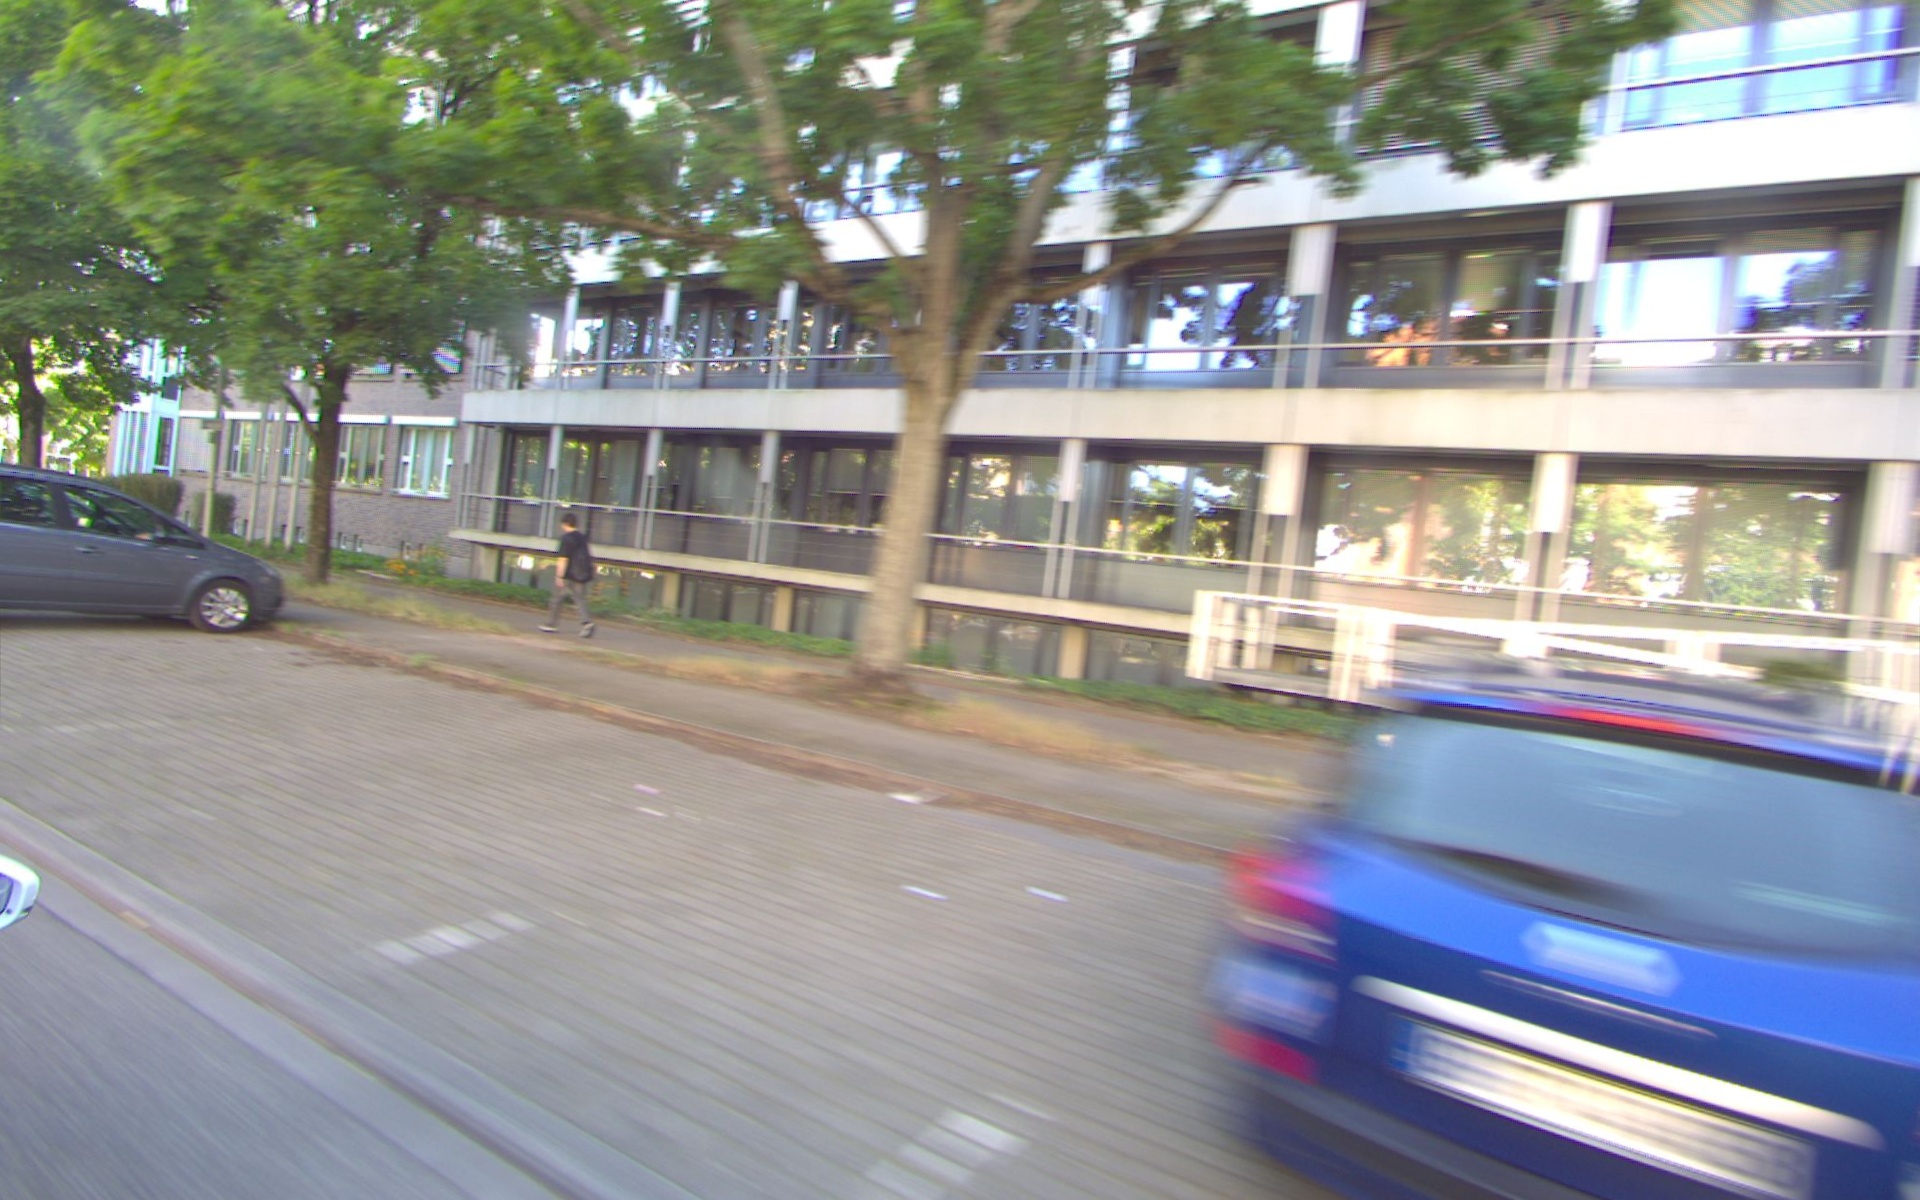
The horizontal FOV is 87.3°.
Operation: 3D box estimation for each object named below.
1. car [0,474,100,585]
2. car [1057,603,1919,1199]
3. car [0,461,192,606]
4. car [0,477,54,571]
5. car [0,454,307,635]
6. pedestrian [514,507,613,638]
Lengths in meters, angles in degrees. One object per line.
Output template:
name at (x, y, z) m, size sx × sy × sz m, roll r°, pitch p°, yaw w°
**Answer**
car at (-15.102, -1.159, 14.131) m, size 1.781 × 1.556 × 4.195 m, roll 7°, pitch 2°, yaw 28°
car at (2.049, 0.932, 3.342) m, size 1.783 × 1.534 × 3.950 m, roll 7°, pitch 2°, yaw 32°
car at (-12.369, -0.912, 12.395) m, size 1.781 × 1.691 × 4.195 m, roll 7°, pitch 2°, yaw 28°
car at (-16.970, -1.377, 15.415) m, size 1.781 × 1.467 × 4.195 m, roll 7°, pitch 2°, yaw 28°
car at (-9.698, -0.601, 10.579) m, size 1.781 × 1.726 × 4.355 m, roll 7°, pitch 2°, yaw 28°
pedestrian at (-5.768, -0.402, 14.628) m, size 1.171 × 1.768 × 0.608 m, roll 7°, pitch 2°, yaw 31°
